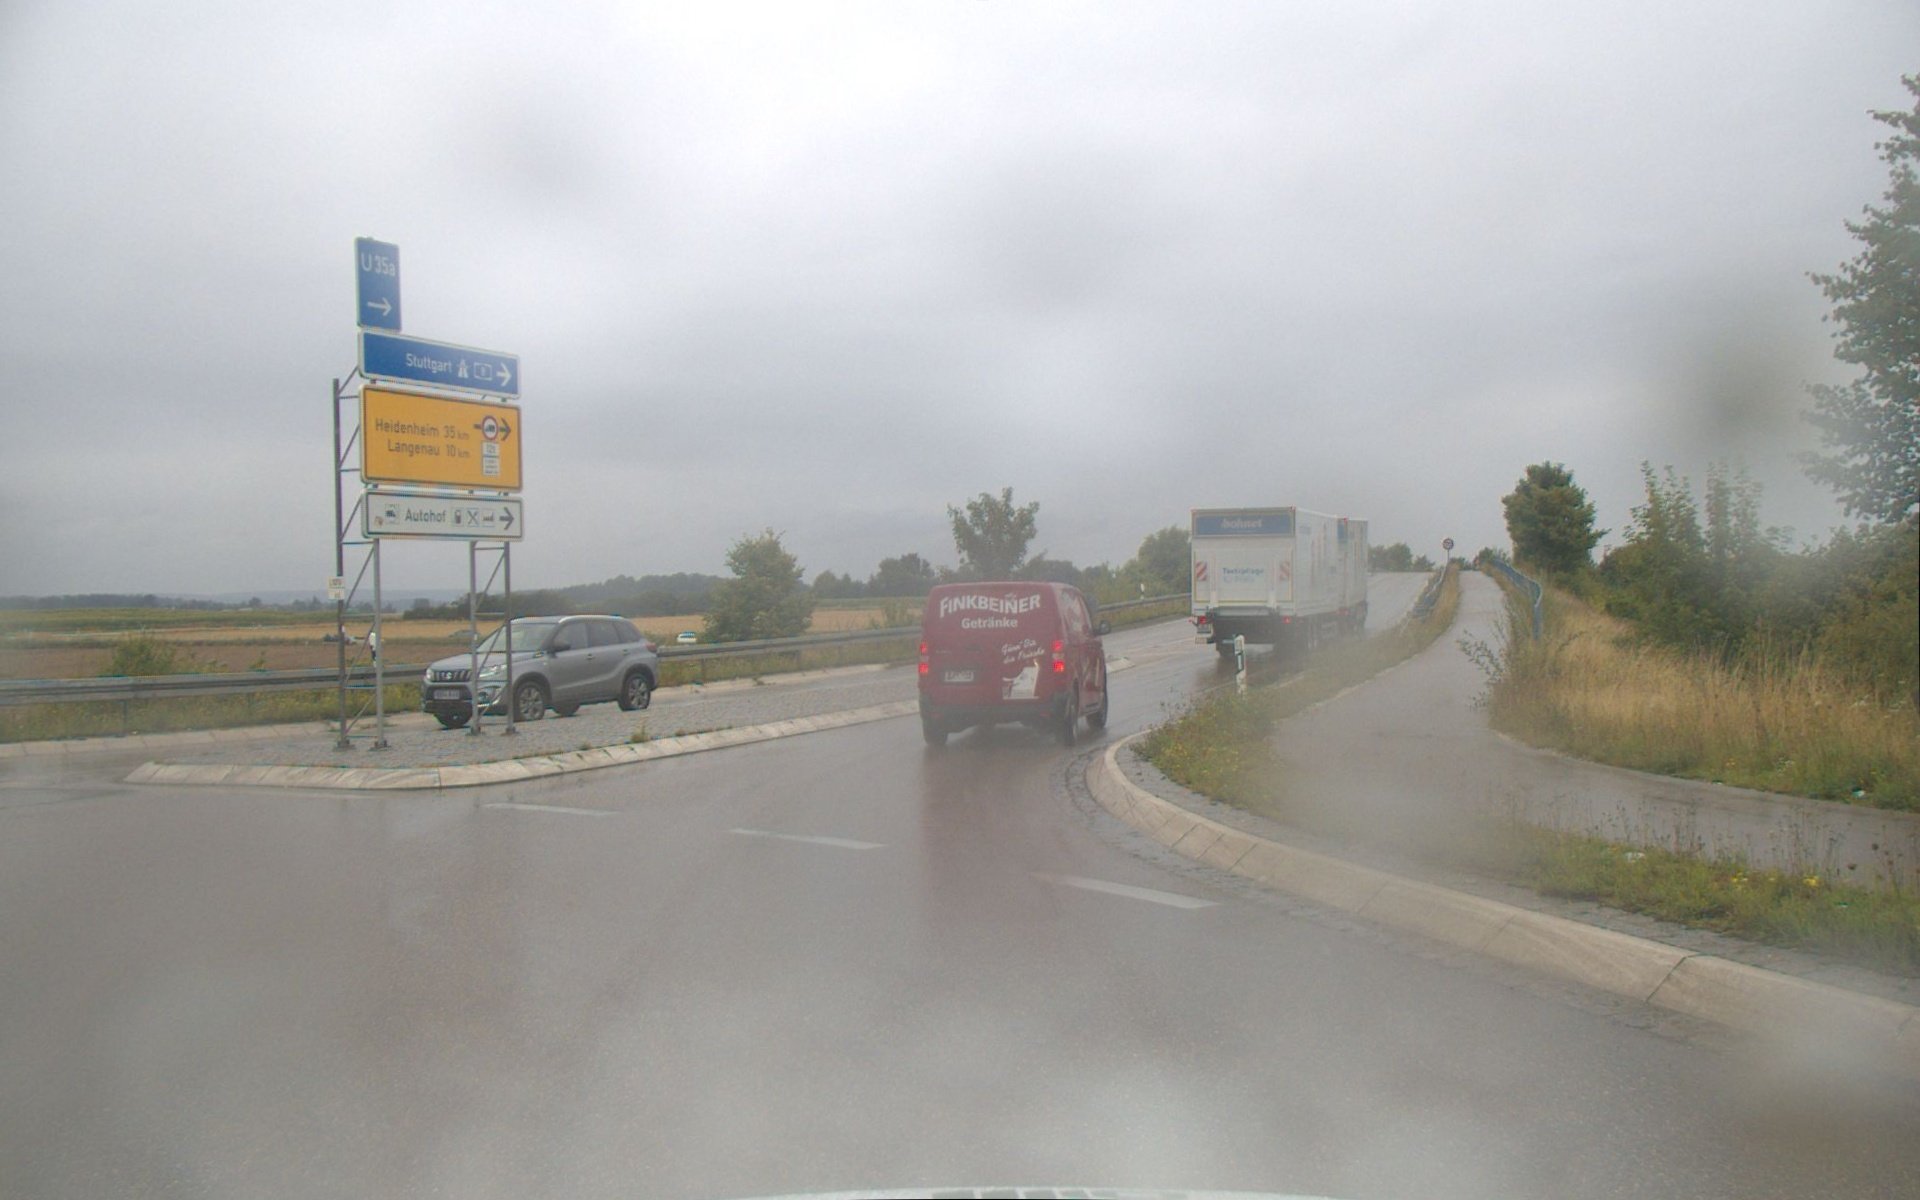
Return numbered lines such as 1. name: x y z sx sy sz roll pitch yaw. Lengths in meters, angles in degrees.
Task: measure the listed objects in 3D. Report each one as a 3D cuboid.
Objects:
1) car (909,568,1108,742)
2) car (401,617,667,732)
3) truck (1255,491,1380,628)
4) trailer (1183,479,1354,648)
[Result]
1. car: 0.764 0.588 21.372 1.951 1.903 4.983 -2 1 8
2. car: -6.587 1.091 25.970 1.767 1.602 3.992 0 0 30
3. truck: 11.275 -1.235 51.658 2.741 3.885 7.692 -1 1 20
4. trailer: 8.314 -0.934 43.461 2.773 3.885 9.717 -1 1 20
